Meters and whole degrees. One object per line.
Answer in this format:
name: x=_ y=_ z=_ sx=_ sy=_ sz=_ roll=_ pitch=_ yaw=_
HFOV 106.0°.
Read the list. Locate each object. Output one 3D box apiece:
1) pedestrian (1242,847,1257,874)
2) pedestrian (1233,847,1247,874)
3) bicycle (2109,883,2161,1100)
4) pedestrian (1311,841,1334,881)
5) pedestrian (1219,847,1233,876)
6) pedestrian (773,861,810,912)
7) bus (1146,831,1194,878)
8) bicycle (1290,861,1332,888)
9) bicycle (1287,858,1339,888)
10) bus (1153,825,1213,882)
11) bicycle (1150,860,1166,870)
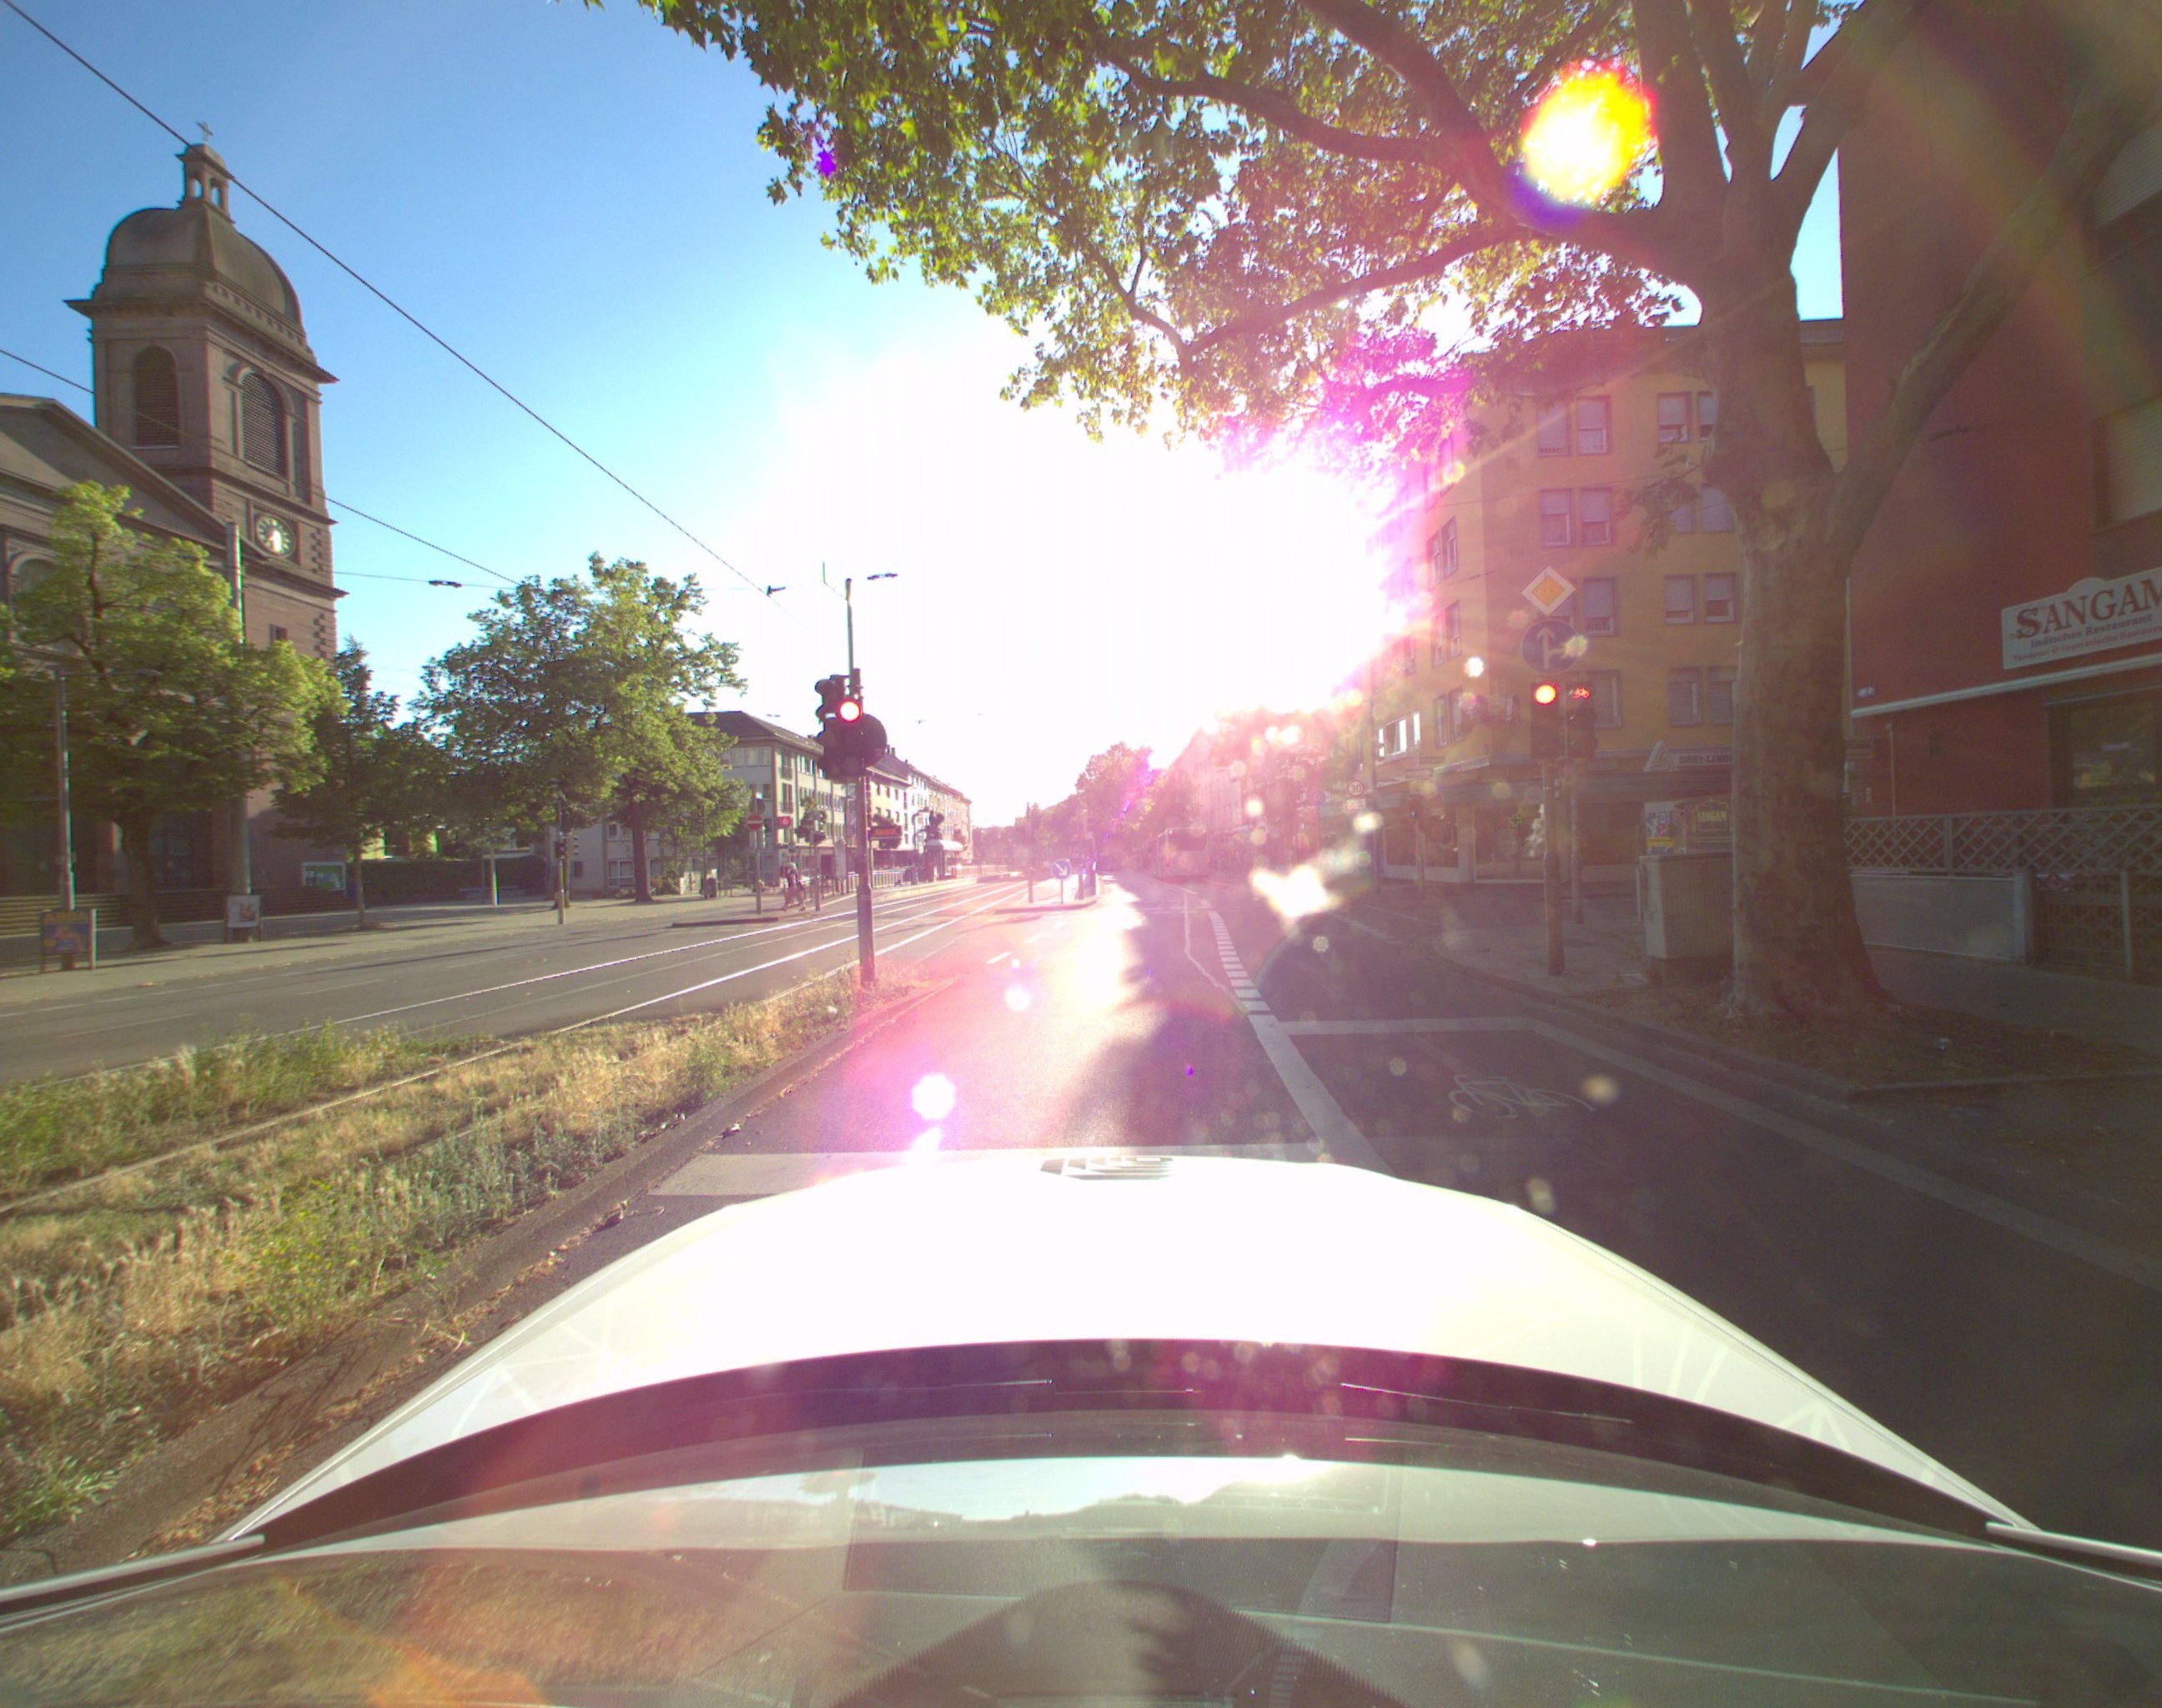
pedestrian: x=10.777 y=0.411 z=52.118 sx=0.721 sy=1.723 sz=0.766 roll=-2 pitch=-1 yaw=1
pedestrian: x=10.658 y=0.440 z=54.625 sx=0.721 sy=1.779 sz=0.766 roll=-2 pitch=-1 yaw=1
bicycle: x=5.668 y=0.755 z=3.652 sx=0.613 sy=1.111 sz=1.812 roll=-3 pitch=1 yaw=28
pedestrian: x=11.041 y=0.296 z=37.222 sx=0.740 sy=1.779 sz=0.895 roll=-3 pitch=1 yaw=2
pedestrian: x=9.249 y=0.503 z=52.018 sx=0.721 sy=1.807 sz=0.766 roll=-2 pitch=-1 yaw=1
pedestrian: x=-10.431 y=1.158 z=29.364 sx=0.915 sy=1.760 sz=0.833 roll=-2 pitch=-1 yaw=2
bus: x=6.328 y=0.049 z=59.257 sx=2.687 sy=3.118 sz=9.072 roll=-1 pitch=0 yaw=1
bicycle: x=8.971 y=0.790 z=31.836 sx=1.479 sy=1.008 sz=0.454 roll=-2 pitch=0 yaw=-2
bicycle: x=8.879 y=0.709 z=31.161 sx=1.793 sy=1.008 sz=0.540 roll=-4 pitch=-1 yaw=-3
bus: x=6.086 y=-0.011 z=50.096 sx=2.687 sy=3.118 sz=9.384 roll=-1 pitch=0 yaw=1
bicycle: x=9.541 y=1.380 z=100.913 sx=1.879 sy=1.077 sz=0.755 roll=-6 pitch=-1 yaw=4
